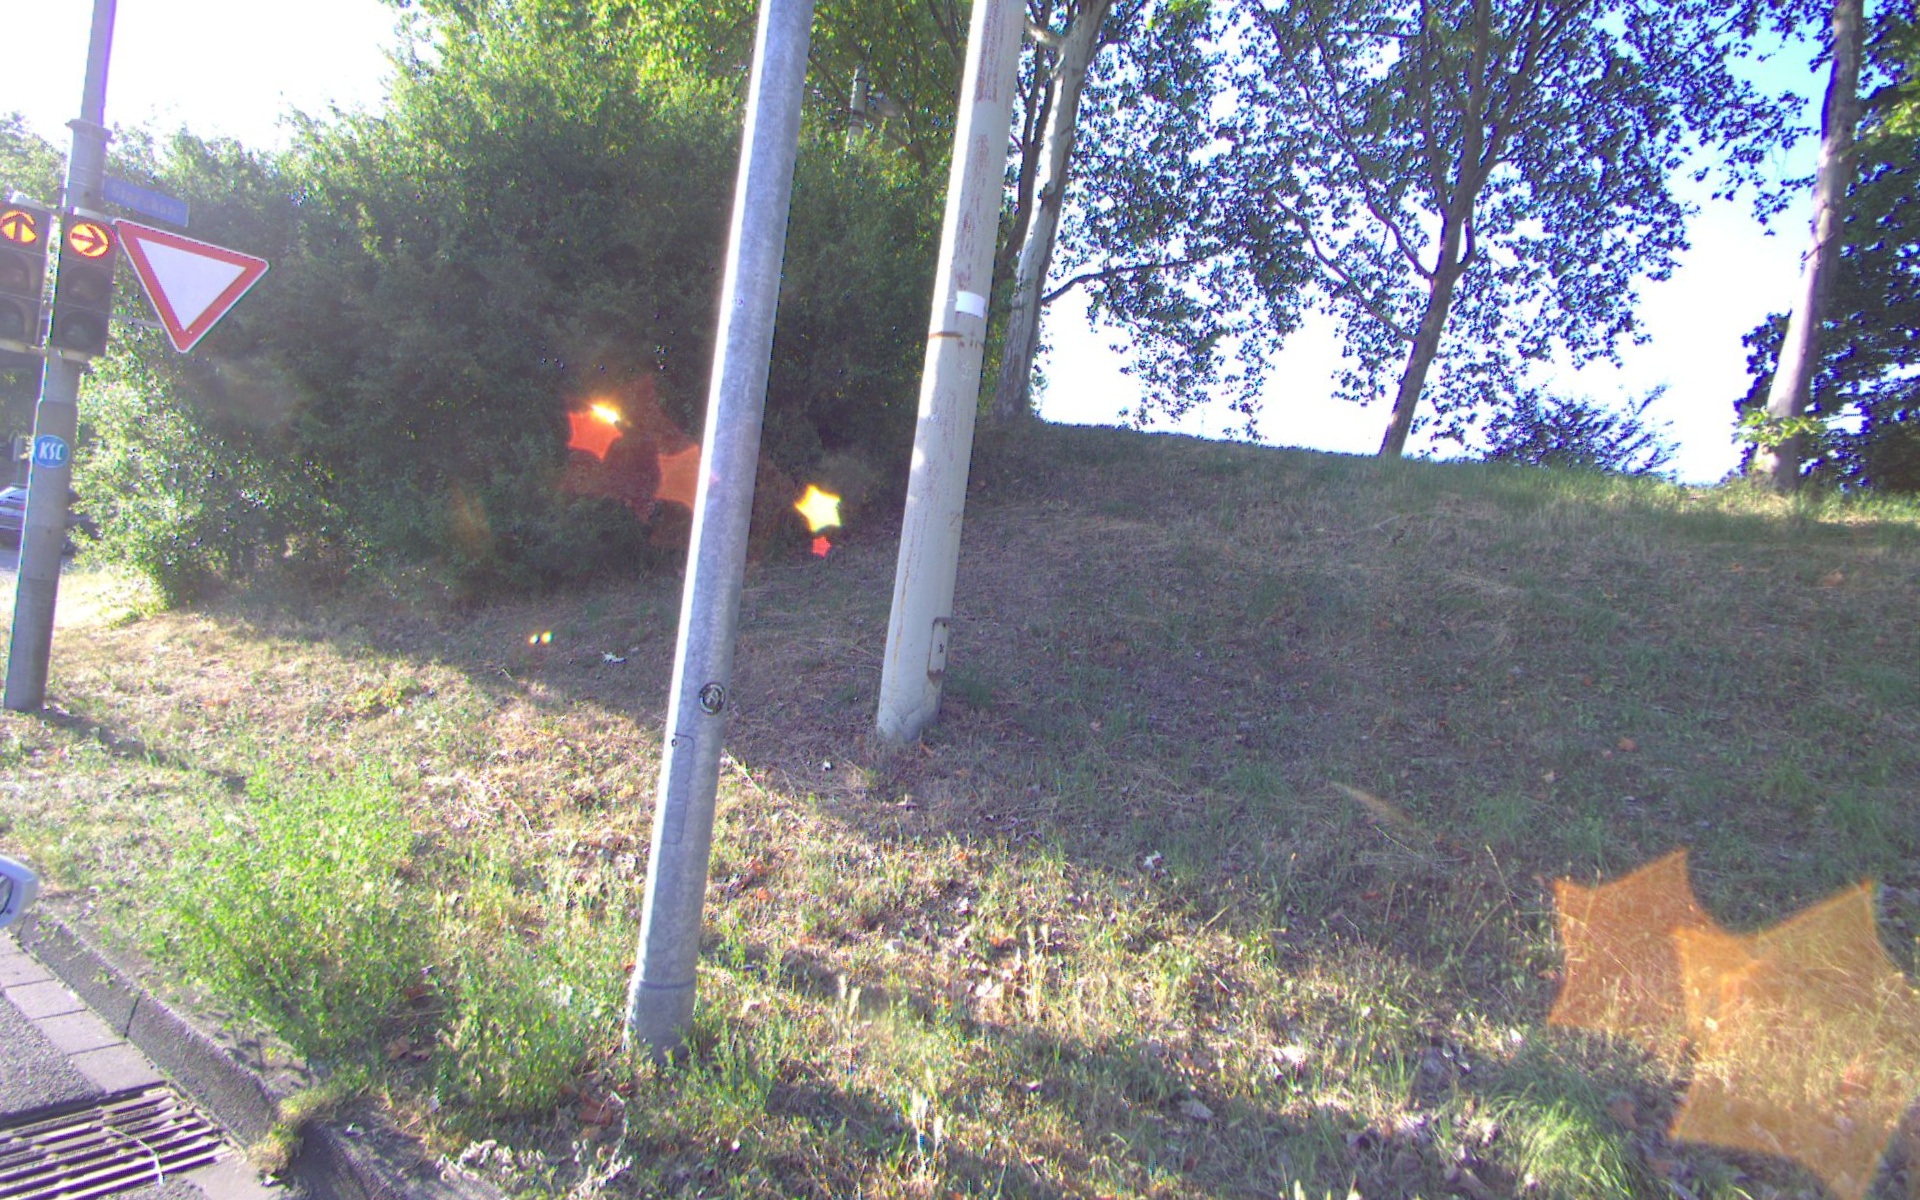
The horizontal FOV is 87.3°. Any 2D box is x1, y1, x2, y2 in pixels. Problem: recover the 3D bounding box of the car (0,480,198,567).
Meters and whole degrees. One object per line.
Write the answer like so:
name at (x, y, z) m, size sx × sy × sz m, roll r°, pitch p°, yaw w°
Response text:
car at (-22.006, -1.886, 25.416) m, size 1.661 × 1.593 × 4.254 m, roll 7°, pitch -1°, yaw 10°
